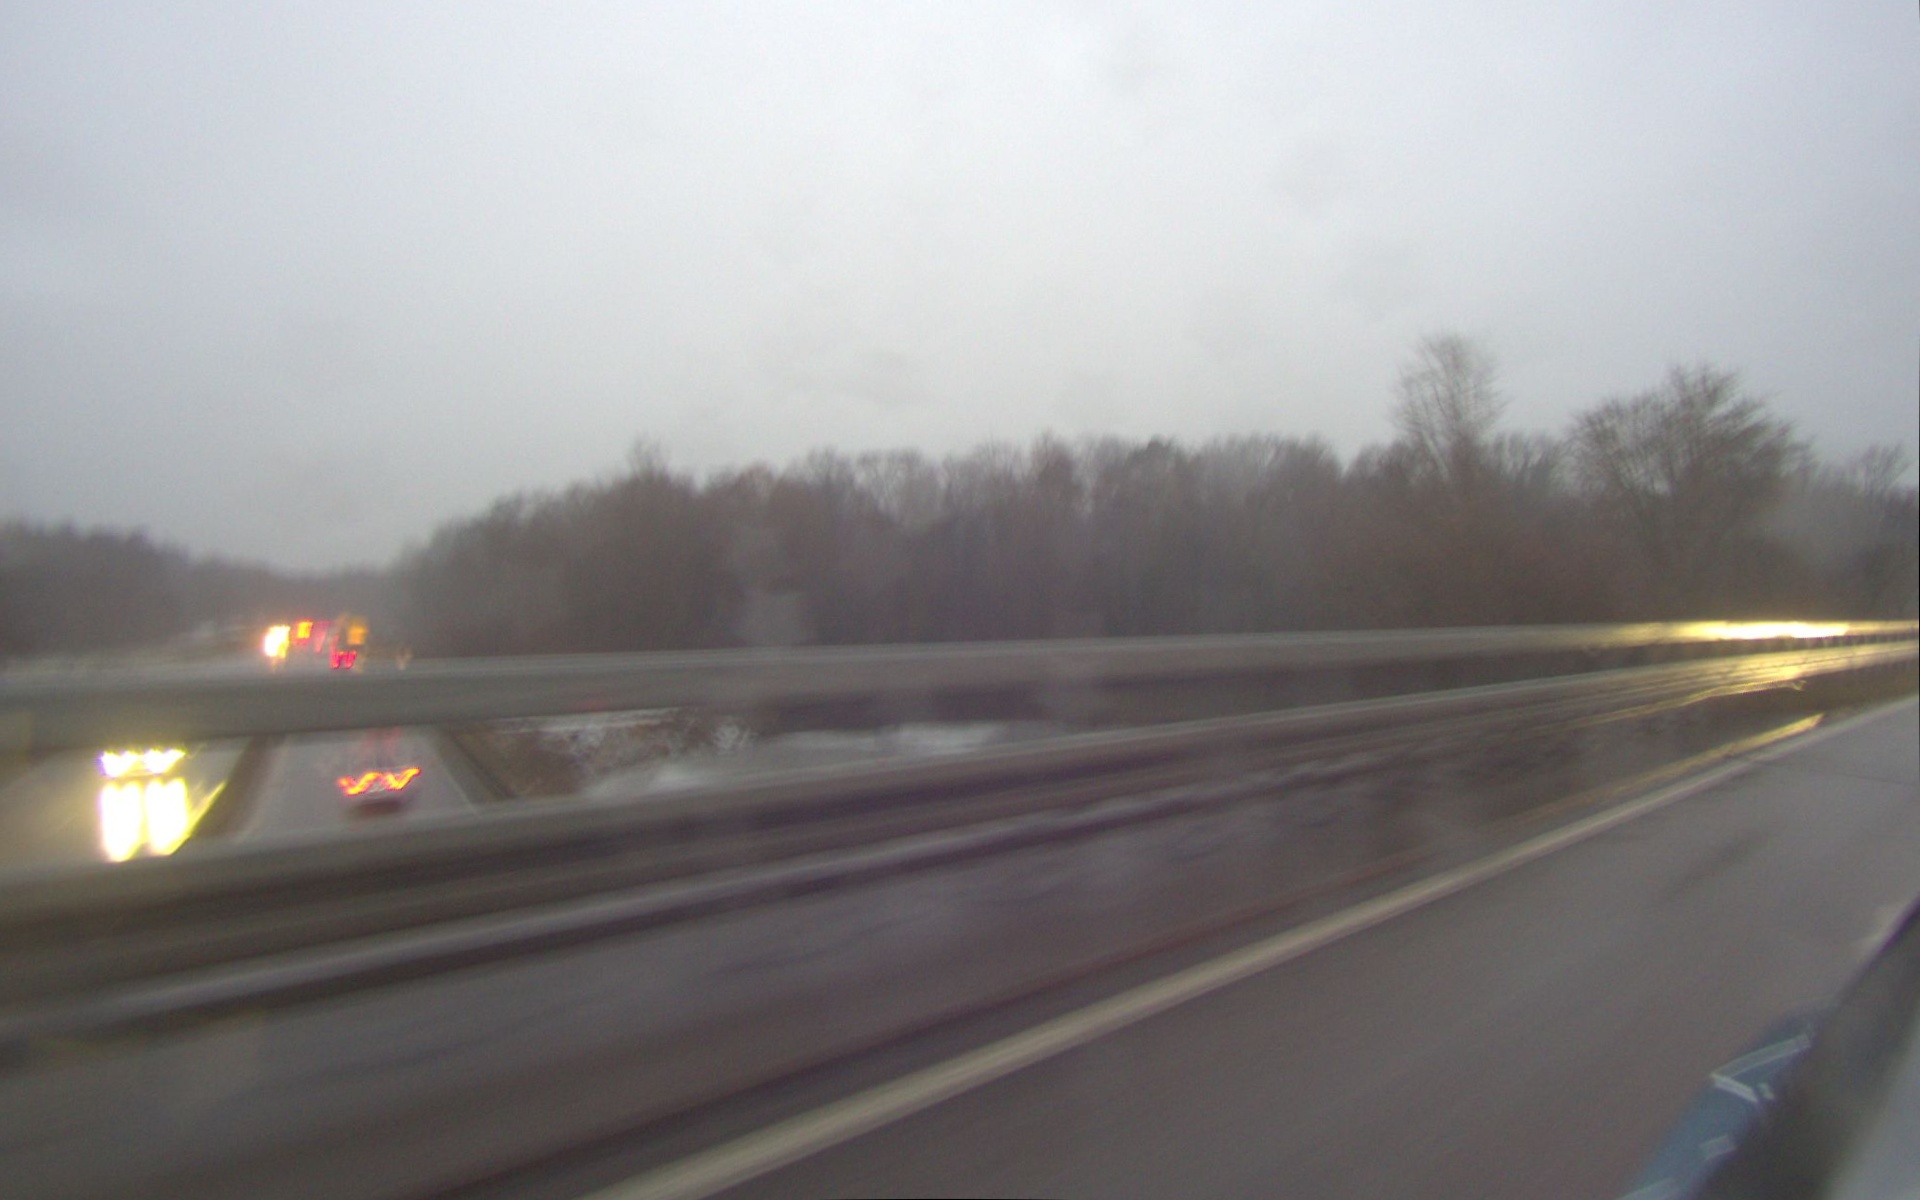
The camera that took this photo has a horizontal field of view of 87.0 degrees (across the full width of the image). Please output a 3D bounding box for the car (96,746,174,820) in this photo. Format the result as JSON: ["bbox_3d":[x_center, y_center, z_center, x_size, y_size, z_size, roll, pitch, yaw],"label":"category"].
[{"bbox_3d":[-35.935,7.883,44.220,1.961,2.039,5.717,0,1,-32],"label":"car"}]

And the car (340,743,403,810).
[{"bbox_3d":[-21.735,6.448,37.337,1.757,1.658,3.991,1,1,-34],"label":"car"}]

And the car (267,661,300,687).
[{"bbox_3d":[-63.005,6.838,94.322,1.959,2.039,5.719,1,0,-28],"label":"car"}]

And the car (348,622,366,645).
[{"bbox_3d":[-97.182,5.370,163.084,2.496,3.425,6.667,0,1,-31],"label":"car"}]

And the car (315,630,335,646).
[{"bbox_3d":[-95.462,5.649,152.126,2.210,2.039,5.720,0,1,-29],"label":"car"}]
